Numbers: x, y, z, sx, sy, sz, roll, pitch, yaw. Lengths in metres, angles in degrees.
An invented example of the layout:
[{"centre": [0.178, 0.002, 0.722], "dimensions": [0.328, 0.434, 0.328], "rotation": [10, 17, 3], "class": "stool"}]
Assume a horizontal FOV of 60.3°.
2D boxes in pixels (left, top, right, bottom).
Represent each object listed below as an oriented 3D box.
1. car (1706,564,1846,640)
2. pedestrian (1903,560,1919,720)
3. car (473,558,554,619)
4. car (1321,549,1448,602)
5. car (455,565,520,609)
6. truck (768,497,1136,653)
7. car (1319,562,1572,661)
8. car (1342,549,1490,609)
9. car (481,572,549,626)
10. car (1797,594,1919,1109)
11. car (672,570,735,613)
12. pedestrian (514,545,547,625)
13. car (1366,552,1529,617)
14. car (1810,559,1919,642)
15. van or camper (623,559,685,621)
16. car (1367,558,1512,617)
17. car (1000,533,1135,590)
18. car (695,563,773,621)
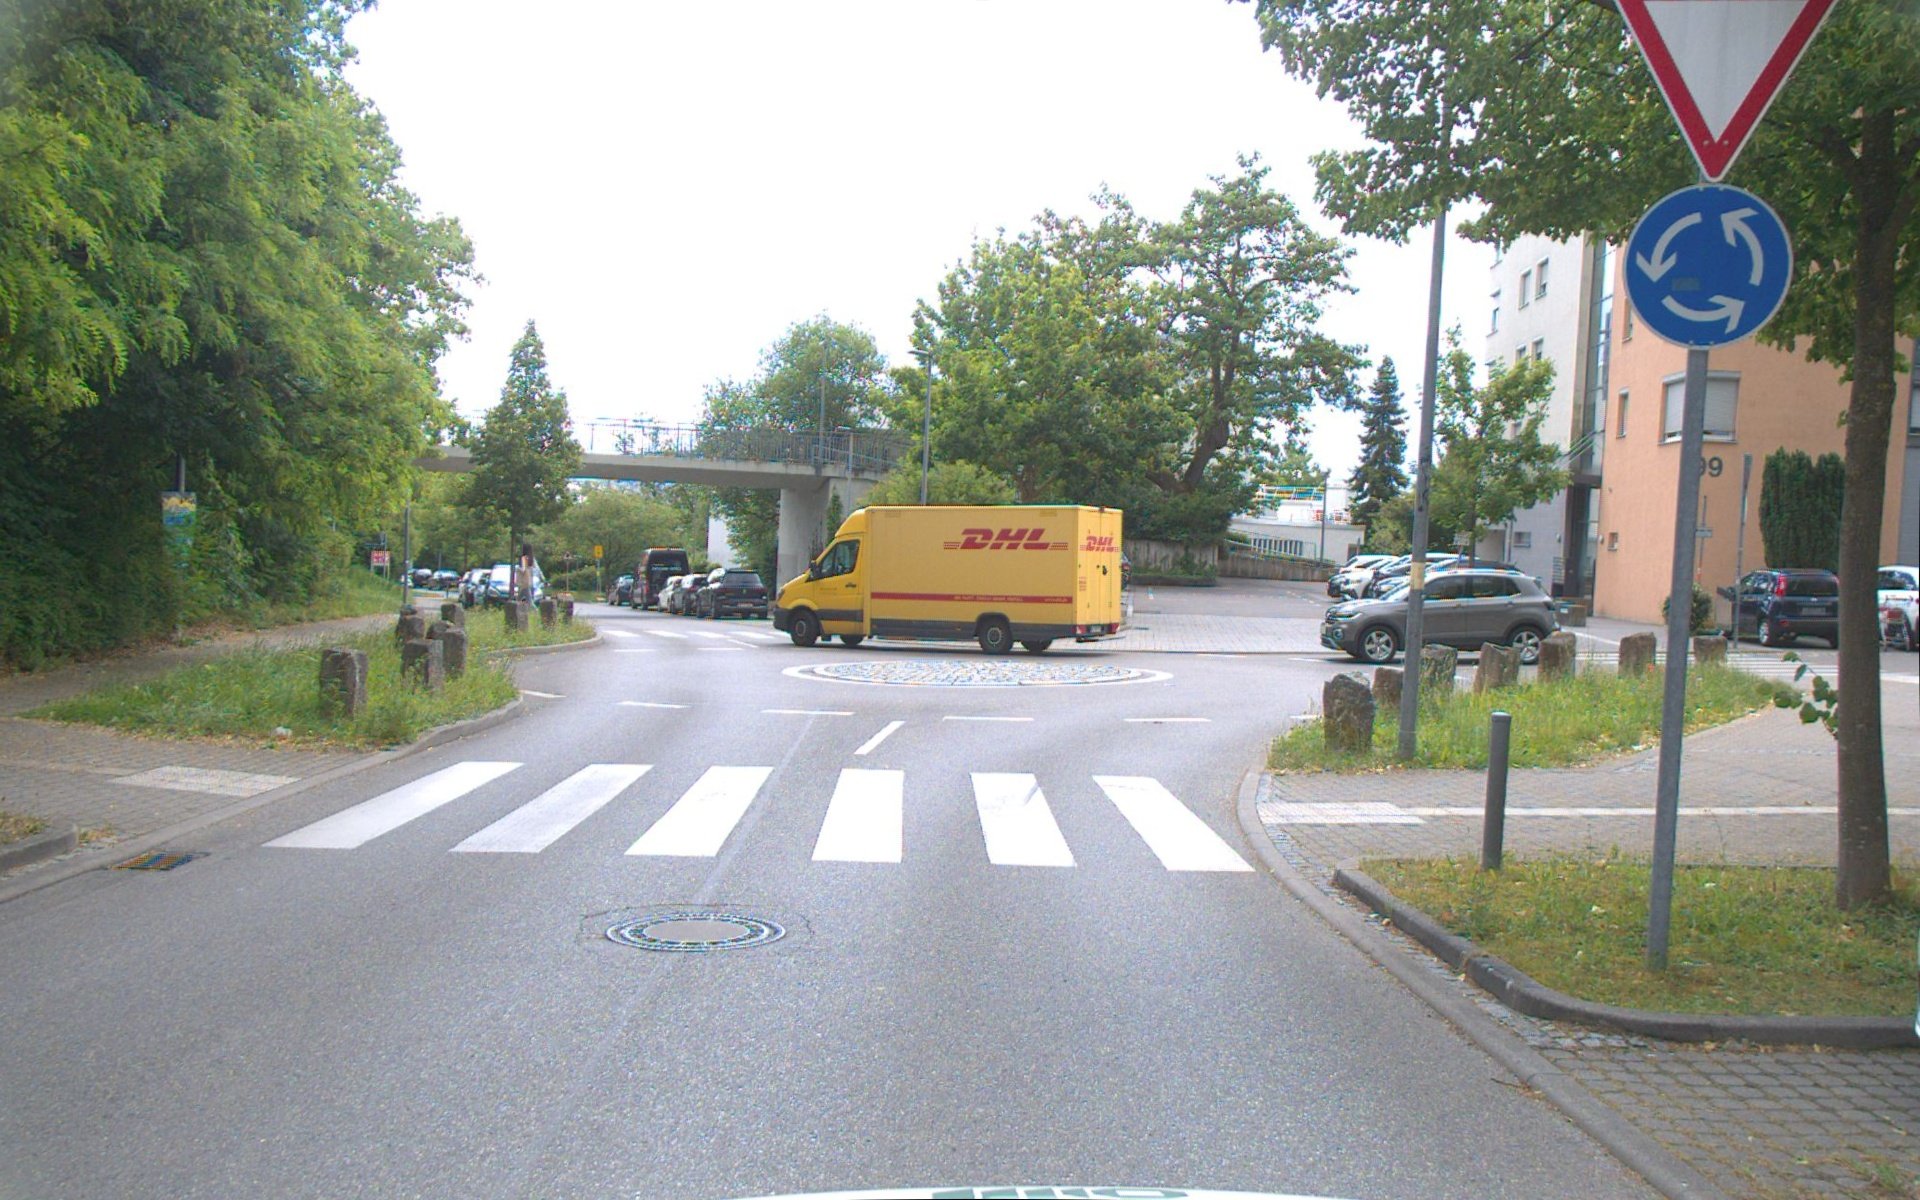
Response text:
[{"centre": [17.027, 0.005, 34.662], "dimensions": [1.468, 1.501, 3.529], "rotation": [1, 1, 5], "class": "car"}, {"centre": [10.496, 0.439, 17.480], "dimensions": [0.600, 1.694, 0.841], "rotation": [2, 1, 9], "class": "pedestrian"}, {"centre": [-12.391, -0.342, 45.751], "dimensions": [1.760, 1.493, 3.977], "rotation": [2, 1, -20], "class": "car"}, {"centre": [13.964, -0.804, 54.591], "dimensions": [3.896, 1.544, 1.758], "rotation": [3, 1, 10], "class": "car"}, {"centre": [-17.637, -0.485, 61.611], "dimensions": [1.858, 1.535, 4.424], "rotation": [2, 0, -21], "class": "car"}, {"centre": [-0.202, -0.527, 31.951], "dimensions": [6.669, 2.749, 2.472], "rotation": [2, 0, 26], "class": "truck"}, {"centre": [8.395, 0.188, 28.832], "dimensions": [3.913, 1.646, 1.723], "rotation": [1, 0, 1], "class": "car"}, {"centre": [13.650, -0.637, 49.693], "dimensions": [4.032, 1.621, 1.694], "rotation": [3, 1, 6], "class": "car"}, {"centre": [-13.716, -0.062, 50.855], "dimensions": [1.855, 1.485, 3.530], "rotation": [2, 1, -17], "class": "car"}, {"centre": [4.531, 0.768, 4.748], "dimensions": [3.447, 1.487, 1.735], "rotation": [1, 0, -10], "class": "car"}, {"centre": [-9.552, -0.314, 61.354], "dimensions": [1.673, 1.523, 4.097], "rotation": [1, 0, -18], "class": "car"}, {"centre": [-9.568, -0.336, 36.879], "dimensions": [0.647, 1.751, 0.737], "rotation": [2, 1, -14], "class": "pedestrian"}, {"centre": [13.081, -0.422, 44.571], "dimensions": [3.955, 1.544, 1.757], "rotation": [3, 1, 9], "class": "car"}, {"centre": [19.702, -0.020, 35.232], "dimensions": [1.535, 1.687, 3.780], "rotation": [0, 1, 5], "class": "car"}, {"centre": [-13.339, -0.420, 71.856], "dimensions": [1.963, 2.567, 5.442], "rotation": [-1, 0, -18], "class": "van or camper"}, {"centre": [13.673, -0.369, 47.323], "dimensions": [3.746, 1.484, 1.694], "rotation": [3, 1, 9], "class": "car"}, {"centre": [3.642, -1.311, 56.328], "dimensions": [4.450, 1.697, 1.945], "rotation": [3, 1, 1], "class": "car"}, {"centre": [-7.589, -0.231, 55.248], "dimensions": [1.786, 1.708, 4.345], "rotation": [1, -3, -19], "class": "car"}]
